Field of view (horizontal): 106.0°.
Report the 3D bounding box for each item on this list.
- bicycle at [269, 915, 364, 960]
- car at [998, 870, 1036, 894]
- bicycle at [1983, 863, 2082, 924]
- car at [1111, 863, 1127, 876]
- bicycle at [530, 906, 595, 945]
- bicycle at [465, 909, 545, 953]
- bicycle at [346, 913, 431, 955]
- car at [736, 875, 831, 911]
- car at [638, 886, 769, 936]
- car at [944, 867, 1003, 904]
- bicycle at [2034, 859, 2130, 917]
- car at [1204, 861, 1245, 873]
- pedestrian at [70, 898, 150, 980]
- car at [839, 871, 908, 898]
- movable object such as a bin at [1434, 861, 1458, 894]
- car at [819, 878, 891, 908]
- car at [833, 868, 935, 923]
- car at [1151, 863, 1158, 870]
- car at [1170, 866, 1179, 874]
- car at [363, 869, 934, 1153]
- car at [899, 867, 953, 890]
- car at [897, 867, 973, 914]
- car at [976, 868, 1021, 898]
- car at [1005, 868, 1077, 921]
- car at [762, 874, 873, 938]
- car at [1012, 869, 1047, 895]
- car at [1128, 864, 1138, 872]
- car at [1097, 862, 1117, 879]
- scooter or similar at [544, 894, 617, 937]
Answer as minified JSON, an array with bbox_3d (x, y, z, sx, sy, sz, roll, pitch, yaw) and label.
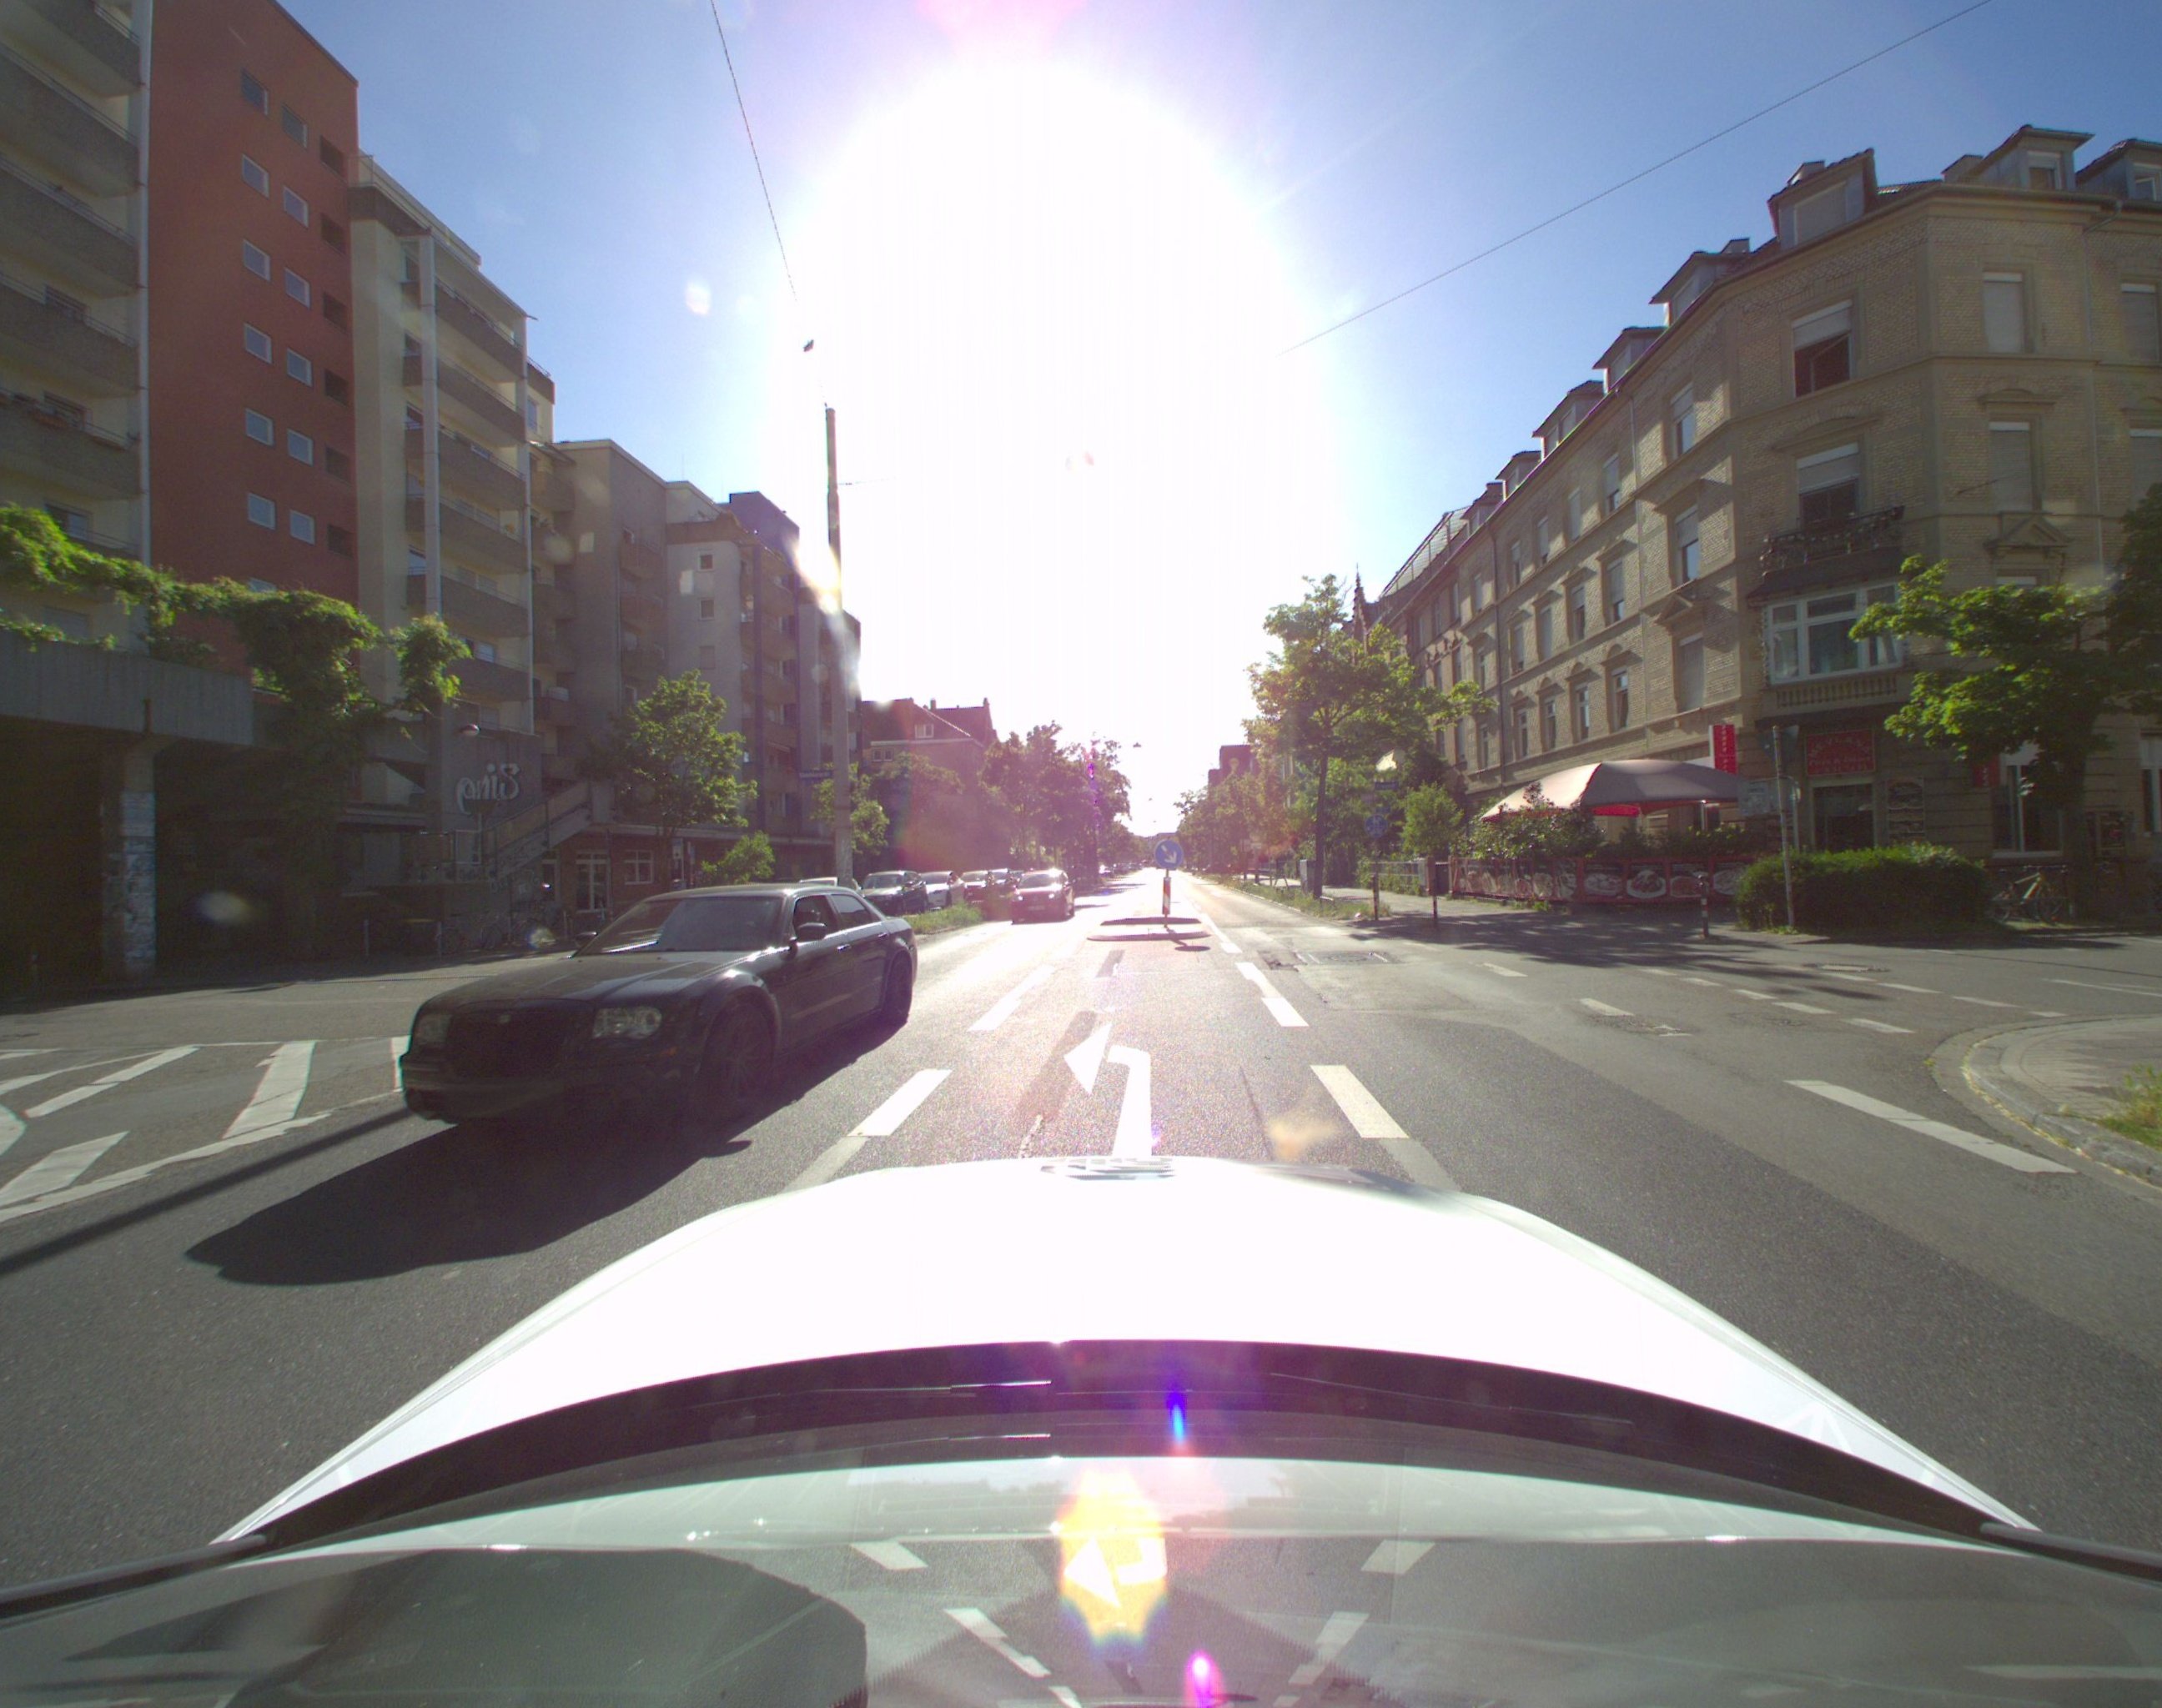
[{"bbox_3d":[-18.903,2.057,20.153,1.792,1.001,0.484,-2,0,-3],"label":"bicycle"},{"bbox_3d":[-4.045,1.751,51.993,1.746,1.398,4.006,-2,-1,5],"label":"car"},{"bbox_3d":[16.229,0.661,13.892,1.307,0.974,0.392,-2,-1,-6],"label":"bicycle"},{"bbox_3d":[5.986,2.443,128.479,2.050,2.014,4.638,-3,-1,7],"label":"car"},{"bbox_3d":[-15.337,2.094,24.126,0.411,1.001,1.809,1,0,15],"label":"bicycle"},{"bbox_3d":[-15.655,2.077,22.184,0.410,1.031,1.811,1,0,22],"label":"bicycle"},{"bbox_3d":[-17.826,2.047,20.985,1.616,1.001,0.413,0,0,-18],"label":"bicycle"},{"bbox_3d":[-14.730,1.926,40.502,3.972,1.607,1.842,-2,-1,1],"label":"car"},{"bbox_3d":[-12.902,1.905,28.187,1.880,1.398,4.539,-3,-1,8],"label":"car"},{"bbox_3d":[-5.254,1.513,40.334,1.853,1.587,4.008,-4,-1,8],"label":"car"},{"bbox_3d":[17.817,0.593,14.501,1.307,0.974,0.392,-2,-1,-6],"label":"bicycle"},{"bbox_3d":[15.366,1.389,87.338,4.003,1.223,1.790,-2,-1,-22],"label":"car"},{"bbox_3d":[-21.221,1.838,17.811,0.752,1.699,0.797,0,-1,4],"label":"pedestrian"},{"bbox_3d":[-13.594,1.990,53.439,3.972,1.629,1.688,-2,-1,1],"label":"car"},{"bbox_3d":[12.685,0.804,28.313,0.565,1.133,0.552,-2,-1,6],"label":"movable object such as a bin"},{"bbox_3d":[-14.100,2.423,50.914,3.972,1.629,1.688,-2,-1,1],"label":"car"},{"bbox_3d":[-6.565,1.334,27.628,1.858,1.628,4.512,-3,-1,6],"label":"car"},{"bbox_3d":[19.512,3.258,215.046,1.749,1.784,4.007,-2,-1,6],"label":"car"},{"bbox_3d":[21.144,3.533,184.517,1.941,1.708,4.007,-2,-1,6],"label":"car"},{"bbox_3d":[-2.826,0.917,6.758,1.856,1.458,4.601,-3,-1,6],"label":"car"},{"bbox_3d":[-12.455,1.949,65.520,3.972,1.629,1.688,-2,-1,1],"label":"car"},{"bbox_3d":[-6.014,1.469,34.065,1.879,1.662,4.536,-4,-1,5],"label":"car"},{"bbox_3d":[-4.662,1.619,46.369,1.743,1.553,4.006,-3,-1,5],"label":"car"},{"bbox_3d":[-1.145,1.180,24.752,1.643,1.428,3.512,-2,-1,5],"label":"car"},{"bbox_3d":[-7.184,1.370,22.554,1.712,1.518,3.534,-3,-1,3],"label":"car"},{"bbox_3d":[-3.587,1.938,57.152,1.754,1.646,4.006,-2,-1,5],"label":"car"},{"bbox_3d":[11.376,3.080,177.631,1.982,1.695,4.009,-3,-1,8],"label":"car"},{"bbox_3d":[3.300,2.039,101.477,1.982,2.014,4.214,-3,-1,8],"label":"car"},{"bbox_3d":[-16.306,2.008,26.543,1.960,1.277,0.631,-2,-1,0],"label":"scooter or similar"}]
